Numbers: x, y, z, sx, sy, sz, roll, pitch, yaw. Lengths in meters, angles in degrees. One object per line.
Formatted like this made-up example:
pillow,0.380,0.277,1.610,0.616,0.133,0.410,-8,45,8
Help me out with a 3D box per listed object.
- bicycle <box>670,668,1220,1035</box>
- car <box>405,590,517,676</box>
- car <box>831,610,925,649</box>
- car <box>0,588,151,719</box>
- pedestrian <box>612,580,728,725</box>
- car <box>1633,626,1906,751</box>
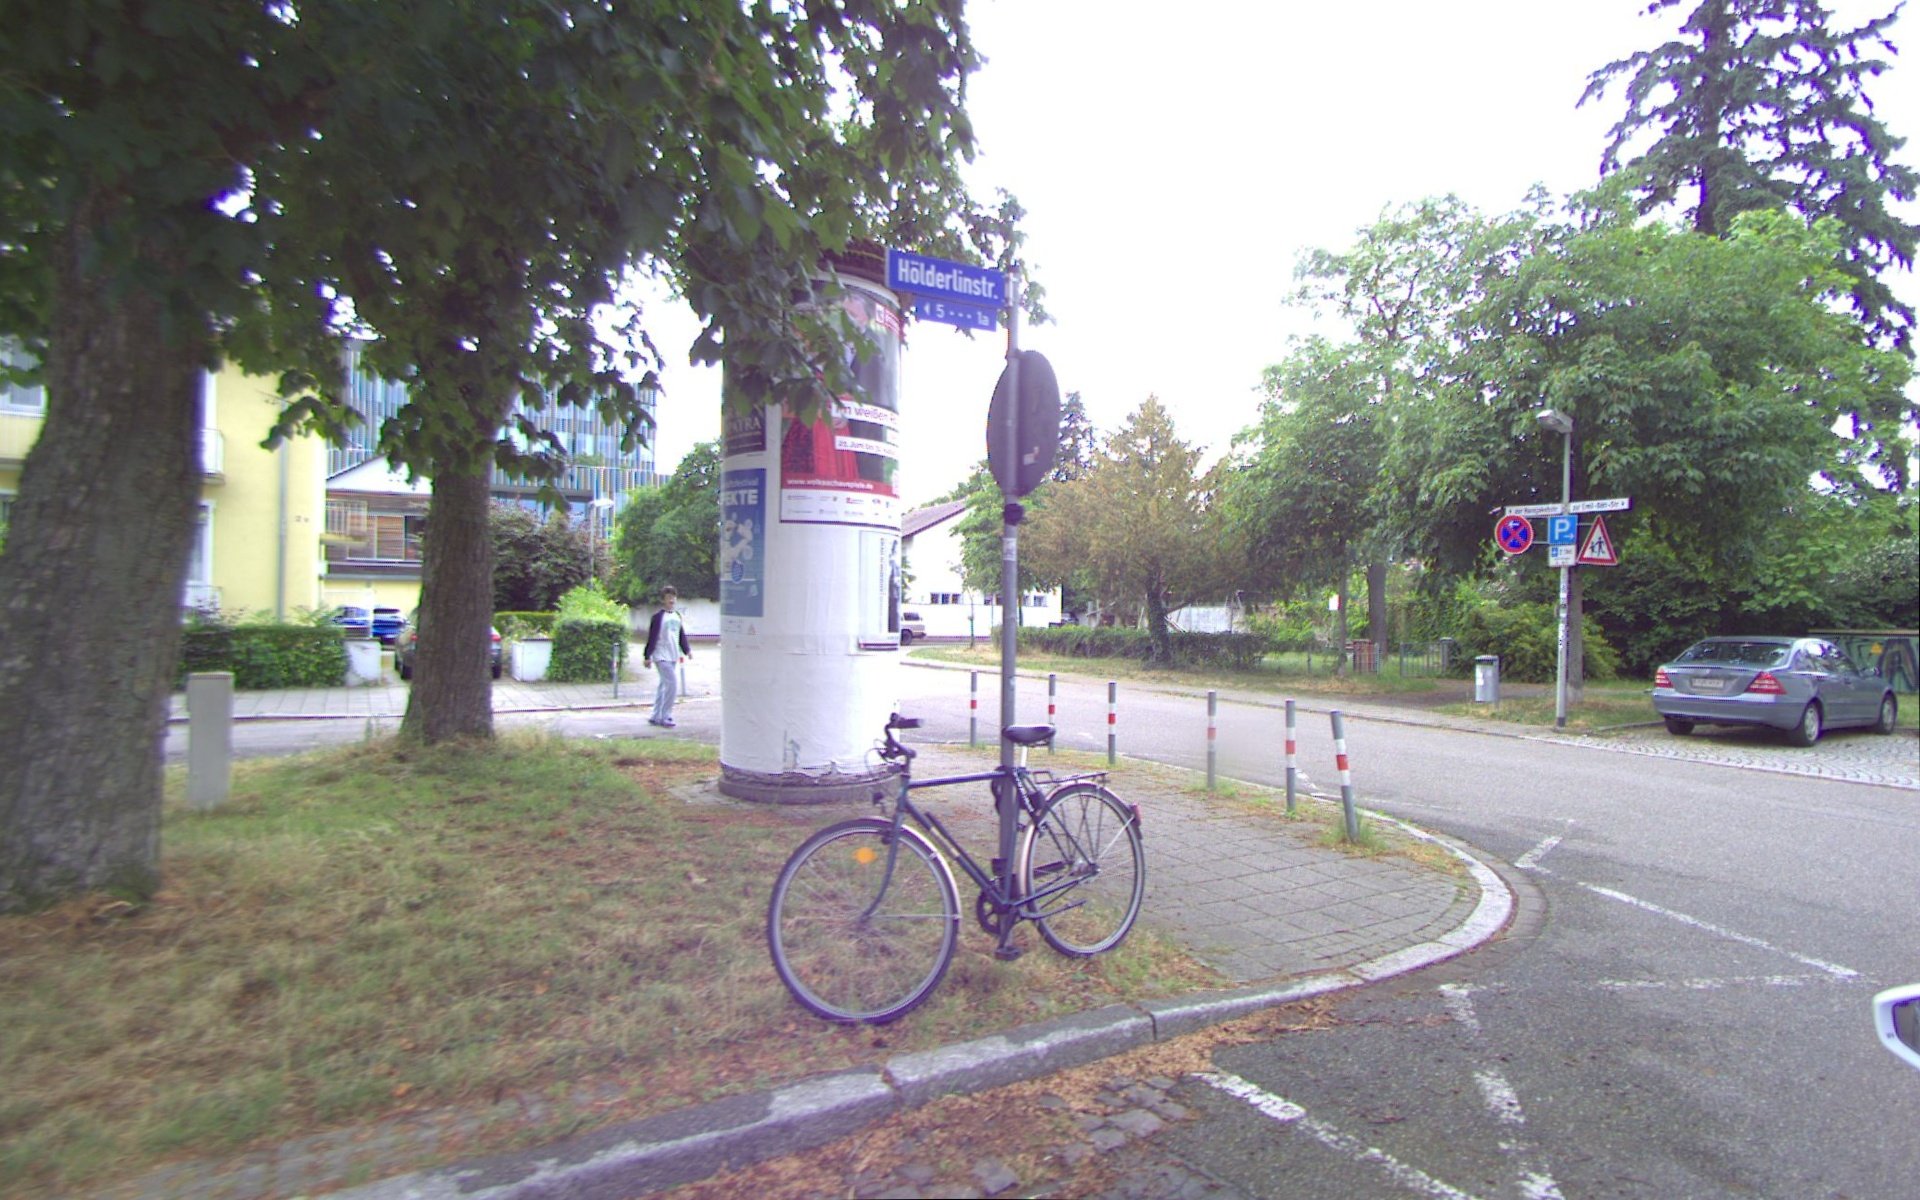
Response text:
bicycle,0.052,0.808,3.817,2.160,0.999,0.507,1,2,-35
car,-10.624,0.660,21.242,1.822,1.632,3.967,2,-1,-31
car,-4.236,1.520,52.067,4.442,1.884,1.983,1,2,-31
car,-12.999,0.638,12.587,4.158,1.587,1.692,1,0,-29
pedestrian,-3.911,0.683,13.558,1.196,1.860,0.878,0,-1,26
car,11.683,1.150,14.416,4.508,1.474,1.666,0,0,-32
